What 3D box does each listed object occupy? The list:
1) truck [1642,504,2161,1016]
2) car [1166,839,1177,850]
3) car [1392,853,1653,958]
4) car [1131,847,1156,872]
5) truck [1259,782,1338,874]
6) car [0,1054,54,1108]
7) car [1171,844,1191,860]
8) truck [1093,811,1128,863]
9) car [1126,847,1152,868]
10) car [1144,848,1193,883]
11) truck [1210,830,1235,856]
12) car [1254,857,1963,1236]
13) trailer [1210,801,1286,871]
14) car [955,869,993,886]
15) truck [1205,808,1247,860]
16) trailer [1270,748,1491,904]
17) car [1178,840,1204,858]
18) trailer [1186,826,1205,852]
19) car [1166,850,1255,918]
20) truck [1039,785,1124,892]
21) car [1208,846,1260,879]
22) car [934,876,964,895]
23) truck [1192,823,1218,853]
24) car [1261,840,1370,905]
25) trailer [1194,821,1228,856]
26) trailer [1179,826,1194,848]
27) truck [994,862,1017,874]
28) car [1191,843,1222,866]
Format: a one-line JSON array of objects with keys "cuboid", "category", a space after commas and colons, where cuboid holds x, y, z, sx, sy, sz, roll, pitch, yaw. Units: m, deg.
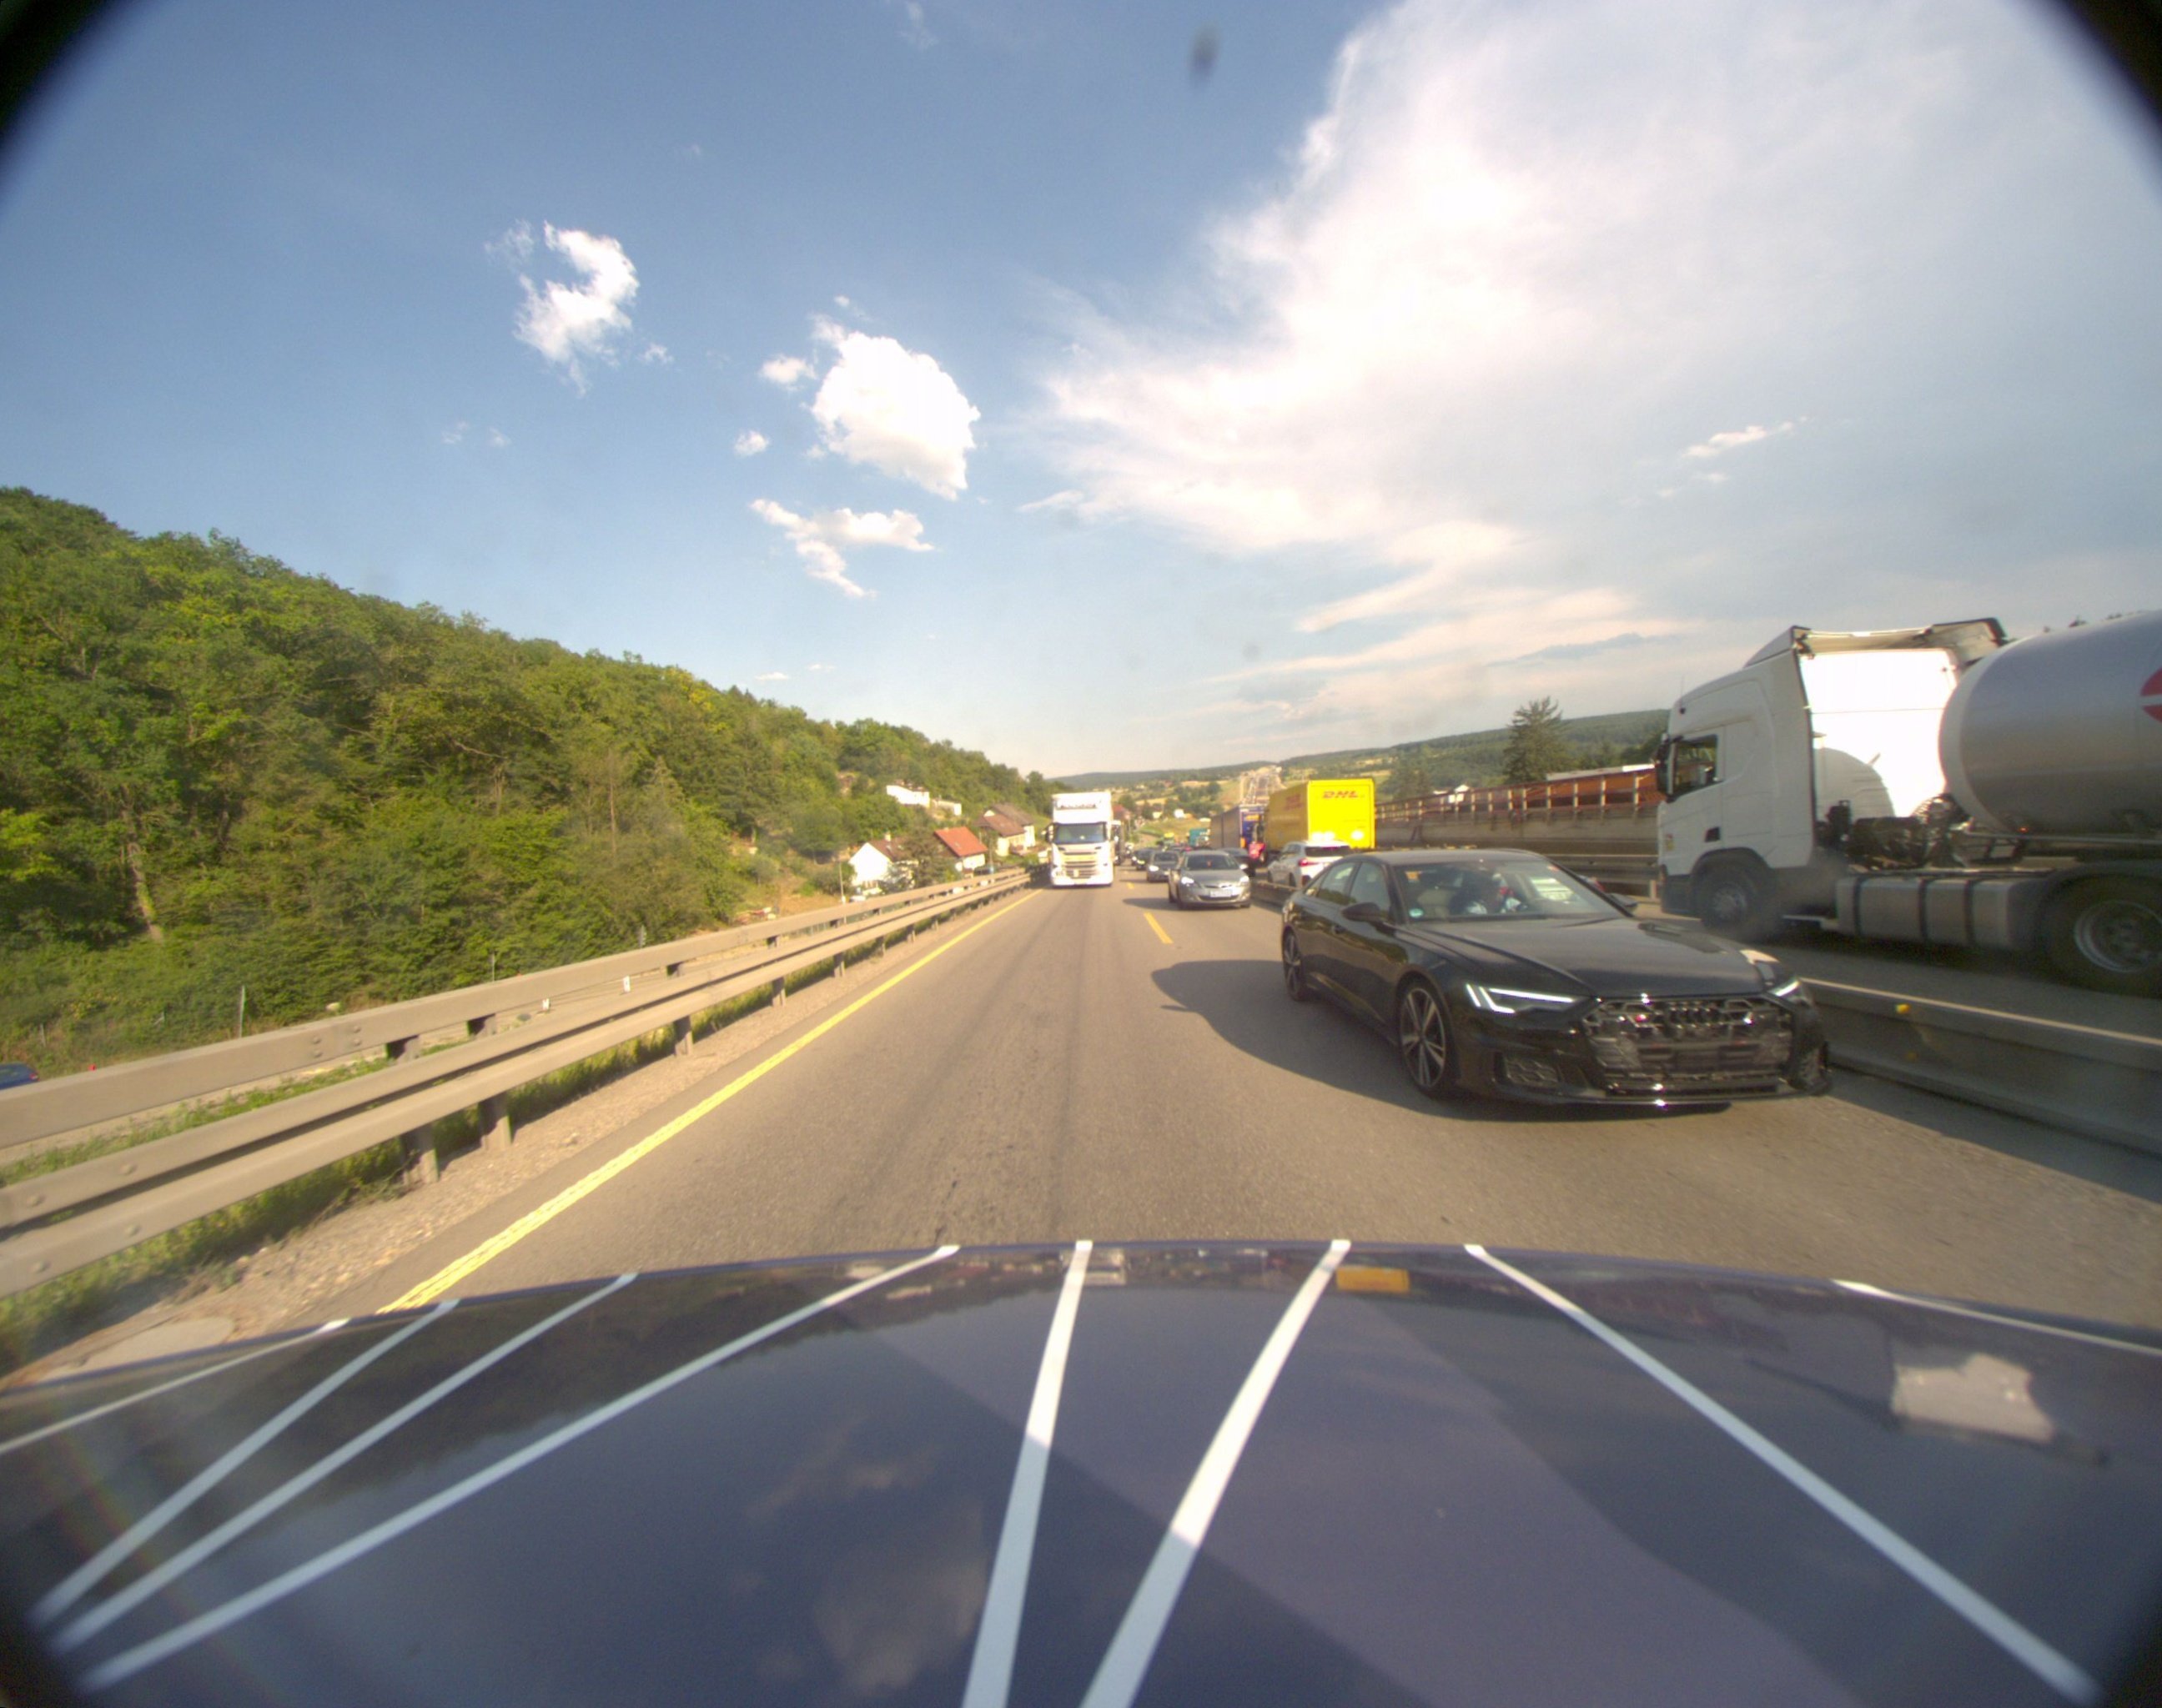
[{"cuboid": [9.742, -0.746, 4.347, 2.816, 3.947, 13.892, -2, 1, 0], "category": "truck"}, {"cuboid": [16.570, -1.726, 139.350, 1.827, 1.923, 5.130, 1, 2, 6], "category": "car"}, {"cuboid": [6.494, 0.659, 11.786, 1.715, 1.245, 4.050, -1, 1, 0], "category": "car"}, {"cuboid": [5.484, 0.426, 66.913, 1.998, 2.002, 3.999, -1, 2, 3], "category": "car"}, {"cuboid": [10.553, -1.261, 37.275, 2.700, 4.173, 4.397, -1, 2, 2], "category": "truck"}, {"cuboid": [-41.043, 8.687, 27.959, 1.769, 1.589, 3.623, -4, 0, 30], "category": "car"}, {"cuboid": [10.524, -0.265, 80.094, 1.792, 1.489, 4.724, -1, 2, 4], "category": "car"}, {"cuboid": [2.837, -1.525, 71.668, 2.787, 4.505, 7.191, -3, 0, 4], "category": "truck"}, {"cuboid": [4.757, 0.234, 63.062, 1.998, 1.565, 3.999, -1, 2, 3], "category": "car"}, {"cuboid": [3.957, 0.474, 34.992, 1.823, 1.433, 4.000, -3, 1, 1], "category": "car"}, {"cuboid": [24.239, -1.946, 130.554, 3.165, 4.099, 12.495, 0, 1, 6], "category": "truck"}, {"cuboid": [2.841, 0.849, 5.869, 1.945, 1.472, 5.221, -1, 1, 2], "category": "car"}, {"cuboid": [11.441, -1.352, 53.845, 2.721, 4.111, 16.751, -1, 2, 4], "category": "trailer"}, {"cuboid": [-16.877, 3.689, 120.219, 5.475, 2.252, 2.001, -3, 3, 14], "category": "car"}, {"cuboid": [12.064, -1.661, 63.475, 2.707, 4.118, 5.794, -1, 2, 4], "category": "truck"}, {"cuboid": [10.180, -1.000, 28.740, 2.707, 4.180, 15.995, -1, 2, 3], "category": "trailer"}, {"cuboid": [9.642, -0.489, 66.824, 1.801, 1.445, 4.615, -1, 2, 3], "category": "car"}, {"cuboid": [19.499, -2.574, 129.890, 2.720, 4.099, 12.495, 0, 1, 6], "category": "trailer"}, {"cuboid": [3.235, 0.685, 19.712, 1.809, 1.478, 4.118, -2, 1, 4], "category": "car"}, {"cuboid": [0.415, -0.800, 36.099, 2.891, 4.060, 13.893, -1, 2, 4], "category": "truck"}, {"cuboid": [7.427, 0.375, 37.371, 1.743, 1.394, 4.902, -1, 2, 2], "category": "car"}, {"cuboid": [-17.017, 4.072, 98.338, 1.865, 1.975, 5.054, -1, 4, 15], "category": "car"}, {"cuboid": [16.139, -2.076, 99.255, 2.754, 3.784, 7.113, 0, 1, 5], "category": "truck"}, {"cuboid": [6.611, 0.433, 21.930, 1.850, 1.638, 4.559, -1, 2, 2], "category": "car"}, {"cuboid": [15.402, -1.879, 91.061, 2.754, 3.794, 16.049, 0, 1, 5], "category": "trailer"}, {"cuboid": [22.492, -3.693, 162.190, 2.917, 4.440, 7.154, -2, 2, 7], "category": "trailer"}, {"cuboid": [-12.997, 2.384, 129.959, 2.002, 1.729, 3.990, -11, 5, -35], "category": "truck"}, {"cuboid": [9.045, -0.023, 54.912, 1.720, 1.499, 4.291, -1, 2, 3], "category": "car"}]
